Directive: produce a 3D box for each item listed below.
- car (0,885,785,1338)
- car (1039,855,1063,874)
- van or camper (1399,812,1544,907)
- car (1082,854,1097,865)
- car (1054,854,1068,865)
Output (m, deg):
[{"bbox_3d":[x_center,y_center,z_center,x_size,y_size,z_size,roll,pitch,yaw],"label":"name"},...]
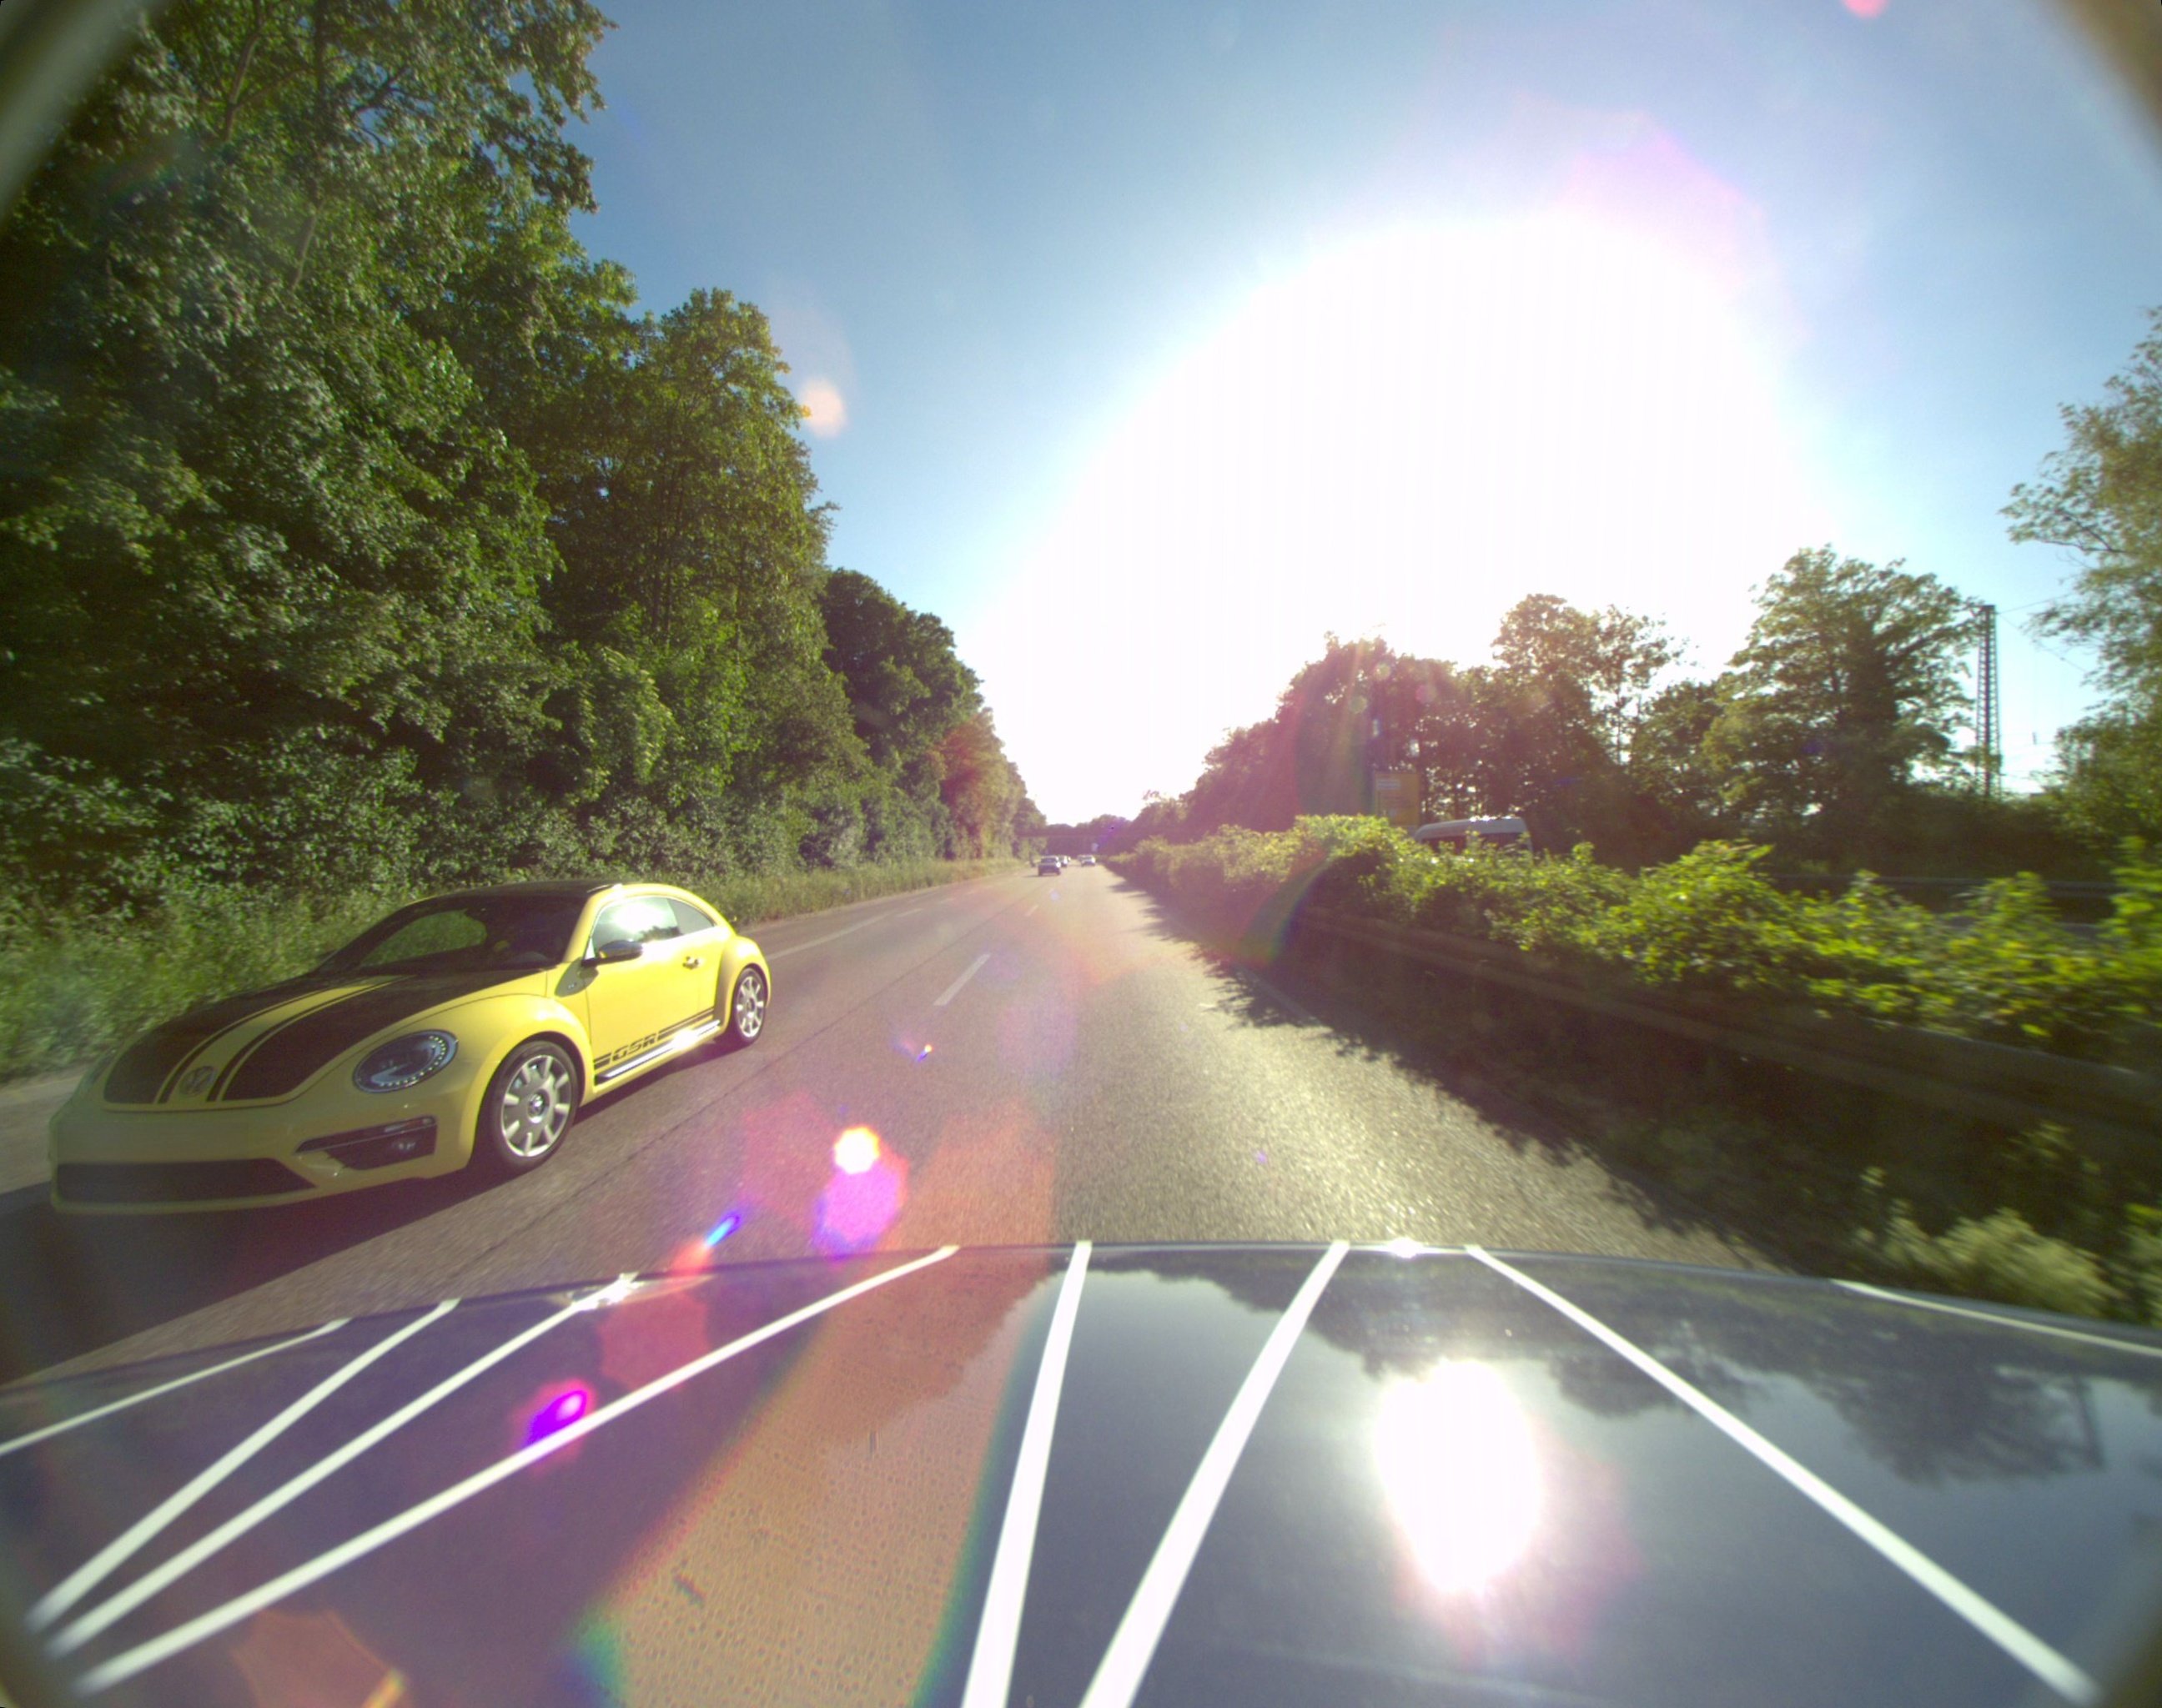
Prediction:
[{"bbox_3d":[-3.770,1.053,4.987,1.884,1.453,4.356,-2,0,0],"label":"car"},{"bbox_3d":[-2.466,0.826,63.028,1.801,1.453,4.355,-2,0,0],"label":"car"},{"bbox_3d":[12.292,0.144,24.384,1.998,2.706,5.253,-1,0,1],"label":"van or camper"},{"bbox_3d":[1.140,0.757,103.543,1.904,1.453,4.355,-1,0,-1],"label":"car"},{"bbox_3d":[-2.637,0.715,99.717,1.801,1.453,4.355,-1,0,-1],"label":"car"}]
